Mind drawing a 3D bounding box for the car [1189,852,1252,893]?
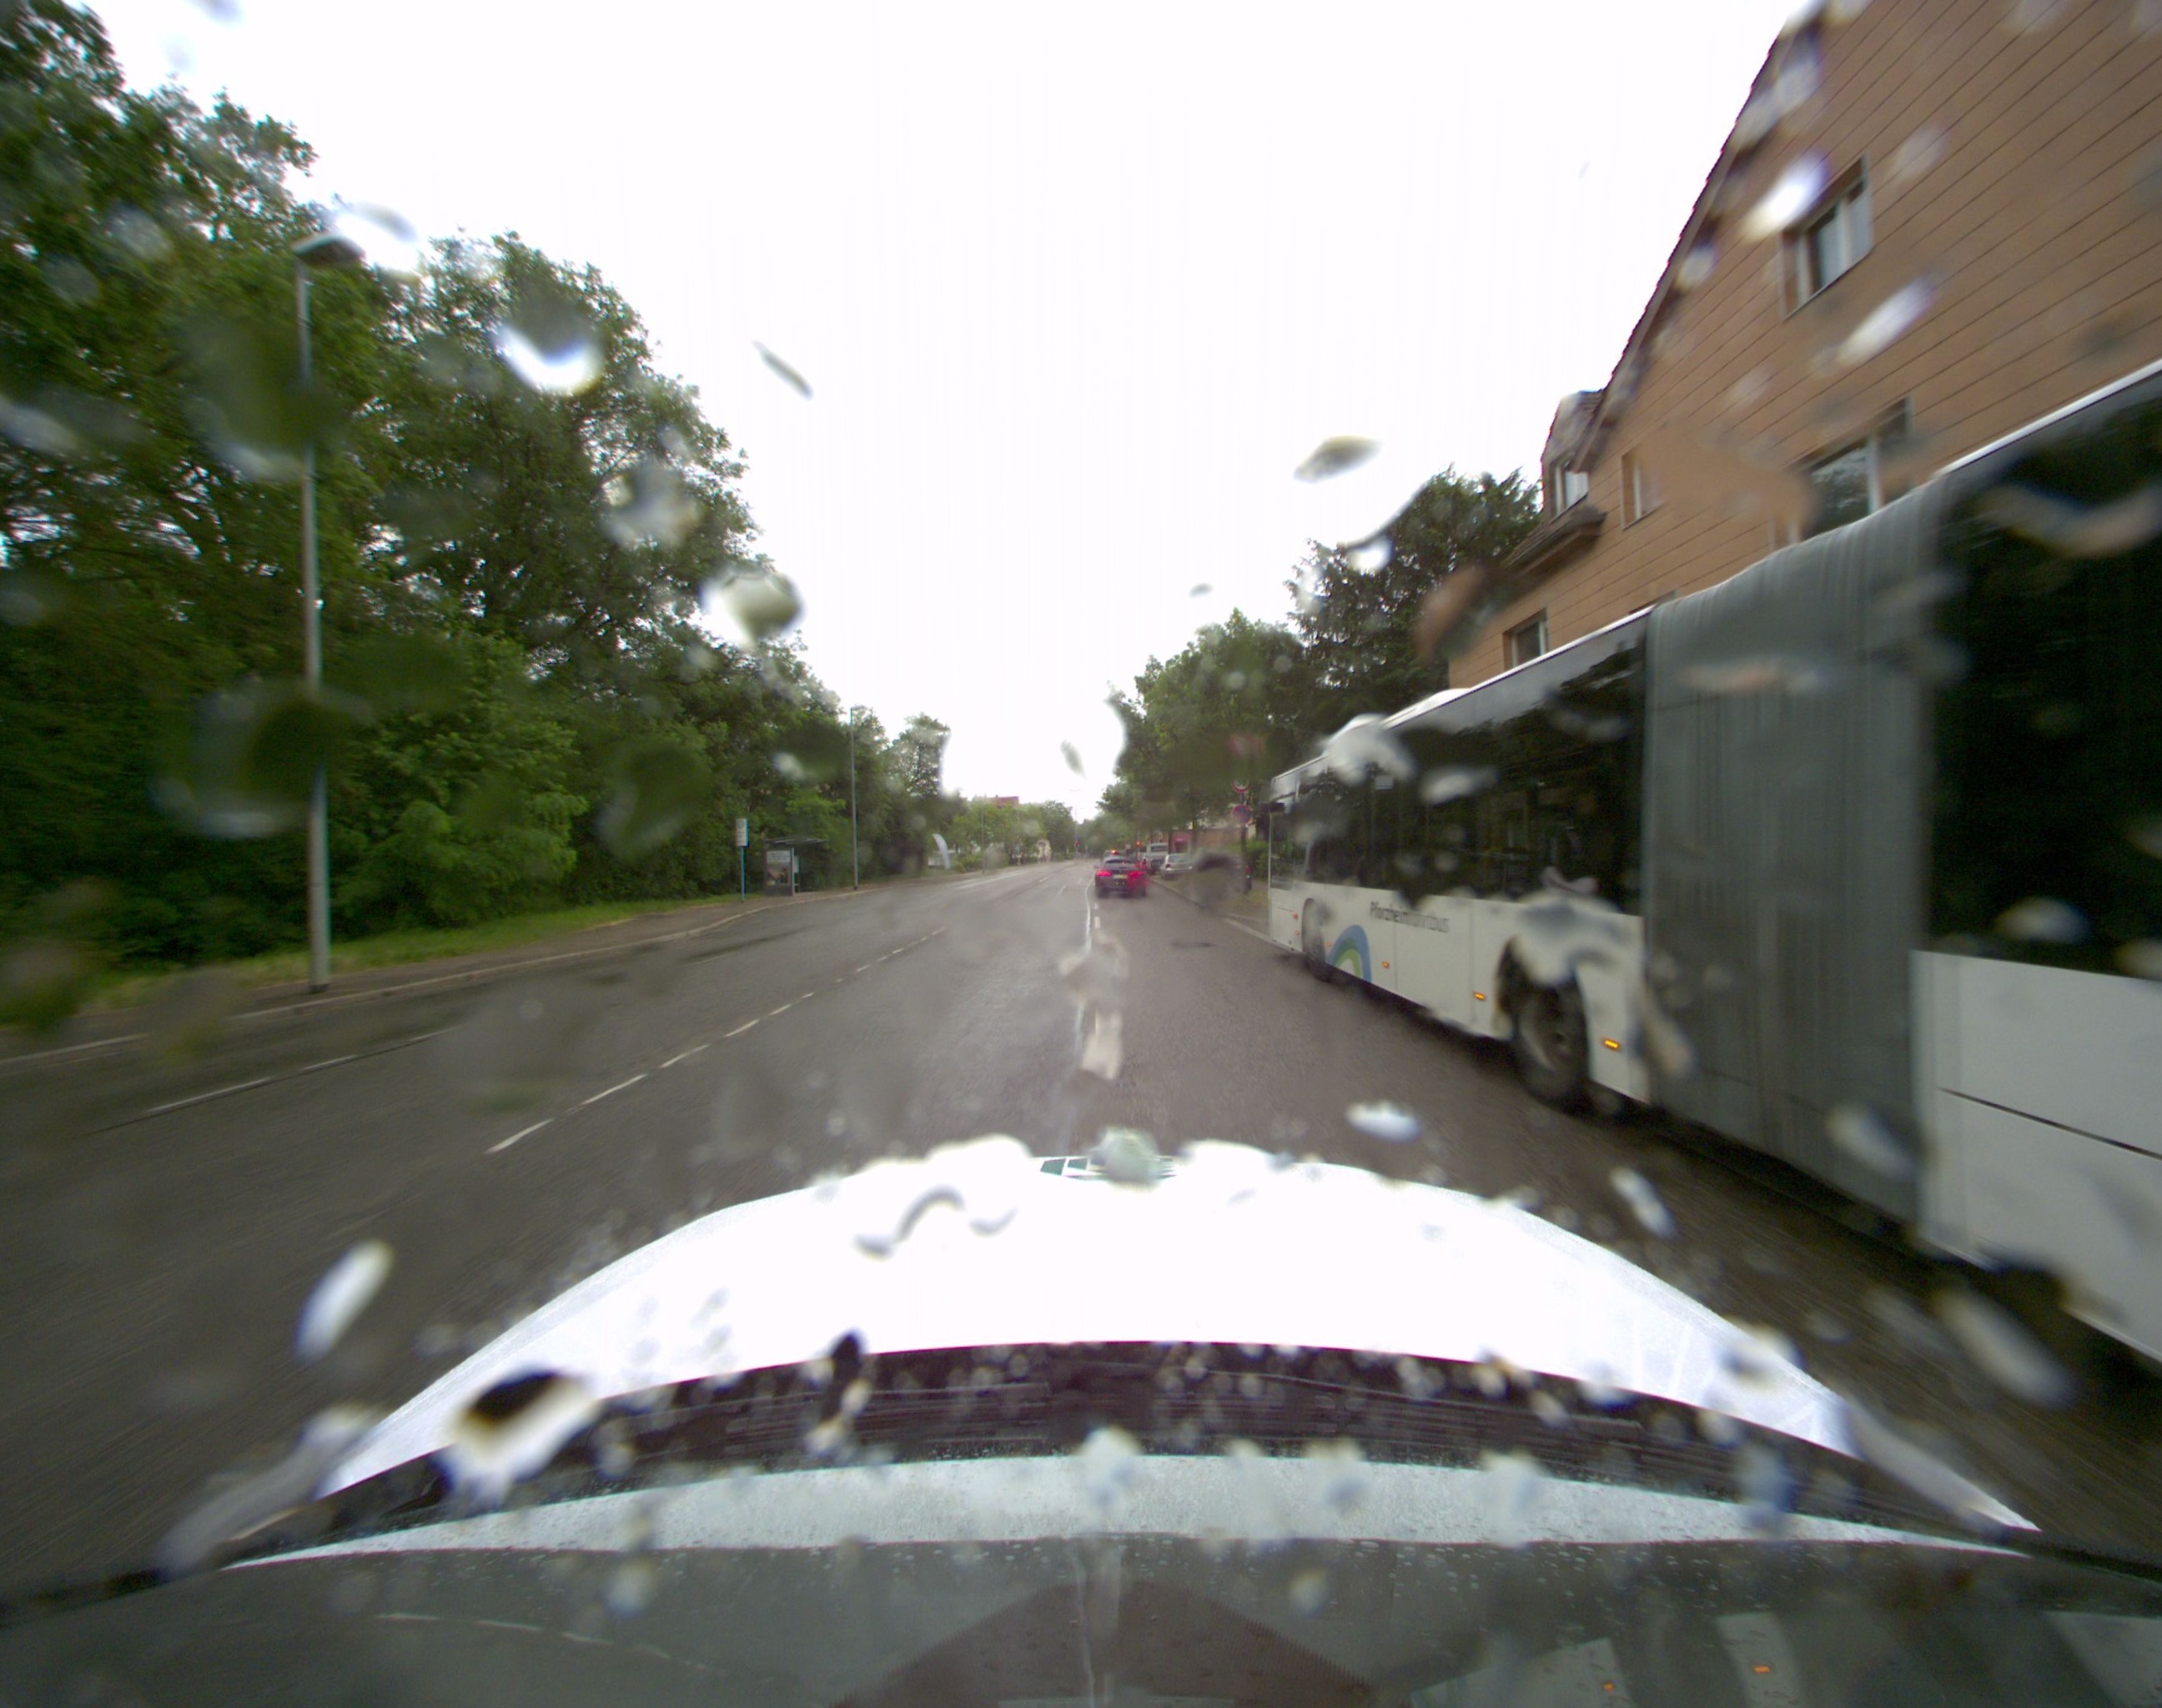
[{"bbox_3d":[5.410,0.659,32.007,1.682,1.389,4.500,-3,0,1],"label":"car"}]

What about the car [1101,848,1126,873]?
[{"bbox_3d":[2.416,0.454,61.071,1.778,1.817,4.000,-1,0,1],"label":"car"}]

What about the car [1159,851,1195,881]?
[{"bbox_3d":[5.304,0.625,45.536,1.595,1.436,4.024,-5,1,2],"label":"car"}]

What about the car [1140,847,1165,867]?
[{"bbox_3d":[5.935,0.258,67.811,1.707,1.498,4.186,-4,0,2],"label":"car"}]

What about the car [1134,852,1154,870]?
[{"bbox_3d":[5.678,0.591,73.994,1.598,1.472,3.858,-5,0,2],"label":"car"}]

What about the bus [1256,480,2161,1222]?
[{"bbox_3d":[4.008,-0.055,8.024,2.548,2.959,9.450,-1,0,0],"label":"bus"}]

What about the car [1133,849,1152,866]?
[{"bbox_3d":[6.301,0.348,83.260,1.579,1.490,3.627,-5,1,0],"label":"car"}]

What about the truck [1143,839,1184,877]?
[{"bbox_3d":[5.511,0.234,55.335,2.073,2.221,6.502,-5,0,1],"label":"truck"}]

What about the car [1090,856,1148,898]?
[{"bbox_3d":[1.384,0.821,31.368,2.057,1.446,4.483,-1,0,0],"label":"car"}]
